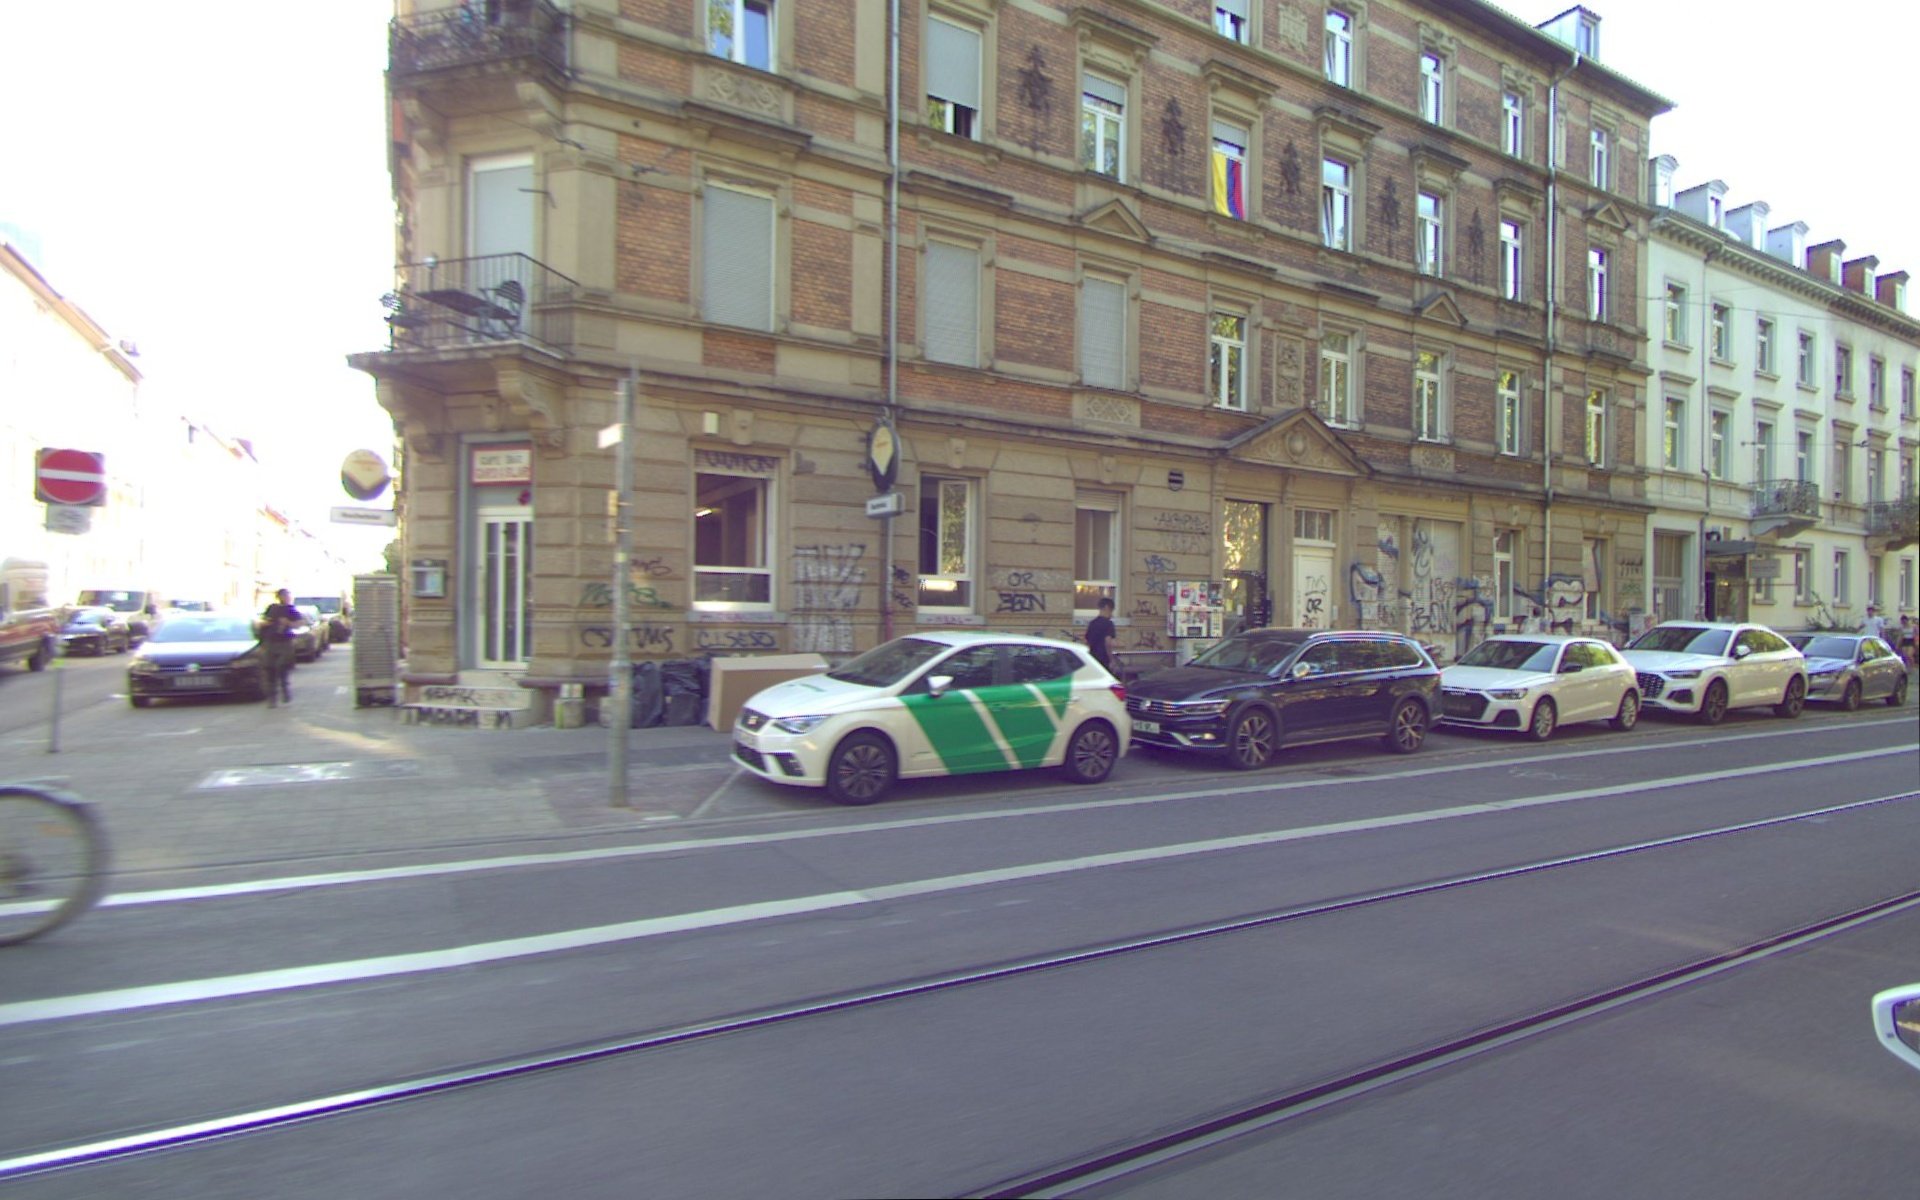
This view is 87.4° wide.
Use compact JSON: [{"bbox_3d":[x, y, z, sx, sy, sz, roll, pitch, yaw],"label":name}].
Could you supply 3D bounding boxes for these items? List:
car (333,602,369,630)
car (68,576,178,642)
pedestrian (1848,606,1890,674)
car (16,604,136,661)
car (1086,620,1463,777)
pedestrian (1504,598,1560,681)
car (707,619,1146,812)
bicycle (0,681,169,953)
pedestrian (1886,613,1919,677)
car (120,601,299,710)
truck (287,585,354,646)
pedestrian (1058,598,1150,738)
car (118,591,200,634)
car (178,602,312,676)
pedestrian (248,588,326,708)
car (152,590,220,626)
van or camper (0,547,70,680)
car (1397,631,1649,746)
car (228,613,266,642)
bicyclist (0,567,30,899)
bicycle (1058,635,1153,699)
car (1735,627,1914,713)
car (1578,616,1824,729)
[{"bbox_3d":[-40.722,1.051,67.239,1.752,1.707,3.932,1,0,-27],"label":"car"},{"bbox_3d":[-29.495,0.318,35.544,2.104,2.188,4.287,1,-1,-28],"label":"car"},{"bbox_3d":[27.667,1.200,30.563,0.821,2.040,0.755,1,-1,-32],"label":"pedestrian"},{"bbox_3d":[-26.423,0.927,30.164,1.832,1.595,3.653,1,-1,-27],"label":"car"},{"bbox_3d":[3.974,1.094,12.398,4.732,1.583,1.732,2,0,-31],"label":"car"},{"bbox_3d":[11.836,0.805,20.797,0.753,1.687,0.665,2,0,2],"label":"pedestrian"},{"bbox_3d":[-0.269,0.995,9.926,3.999,1.511,1.732,2,0,-31],"label":"car"},{"bbox_3d":[-4.820,0.948,4.279,2.206,1.165,0.419,2,-2,-31],"label":"bicycle"},{"bbox_3d":[28.044,1.310,29.712,0.821,1.845,0.755,1,-1,-32],"label":"pedestrian"},{"bbox_3d":[-12.321,0.840,16.703,1.697,1.606,3.163,-1,0,-24],"label":"car"},{"bbox_3d":[-28.348,0.662,44.661,2.065,2.548,4.822,0,-1,-27],"label":"truck"},{"bbox_3d":[1.981,0.902,13.765,1.048,1.825,0.678,1,0,-39],"label":"pedestrian"},{"bbox_3d":[-31.320,0.495,39.383,1.832,1.595,3.653,1,-1,-27],"label":"car"},{"bbox_3d":[-16.700,0.867,23.649,1.829,1.595,3.657,0,-1,-24],"label":"car"},{"bbox_3d":[-10.291,0.707,15.391,0.881,1.772,0.654,0,1,-26],"label":"pedestrian"},{"bbox_3d":[-35.469,0.373,46.133,1.832,1.595,3.653,1,-1,-27],"label":"car"},{"bbox_3d":[-21.455,0.300,21.687,2.132,2.705,5.964,0,-1,-30],"label":"van or camper"},{"bbox_3d":[8.498,1.237,15.068,3.959,1.439,1.688,2,0,-34],"label":"car"},{"bbox_3d":[-44.234,1.703,62.363,1.568,1.615,3.414,1,0,-31],"label":"car"},{"bbox_3d":[-4.684,0.595,4.361,0.798,1.501,0.580,1,-2,-30],"label":"bicyclist"},{"bbox_3d":[2.532,1.140,17.368,1.828,1.048,0.370,1,-1,-33],"label":"bicycle"},{"bbox_3d":[17.693,1.382,20.521,4.020,1.541,1.653,2,0,-32],"label":"car"},{"bbox_3d":[13.207,1.218,17.839,4.662,1.746,1.778,2,0,-30],"label":"car"}]
